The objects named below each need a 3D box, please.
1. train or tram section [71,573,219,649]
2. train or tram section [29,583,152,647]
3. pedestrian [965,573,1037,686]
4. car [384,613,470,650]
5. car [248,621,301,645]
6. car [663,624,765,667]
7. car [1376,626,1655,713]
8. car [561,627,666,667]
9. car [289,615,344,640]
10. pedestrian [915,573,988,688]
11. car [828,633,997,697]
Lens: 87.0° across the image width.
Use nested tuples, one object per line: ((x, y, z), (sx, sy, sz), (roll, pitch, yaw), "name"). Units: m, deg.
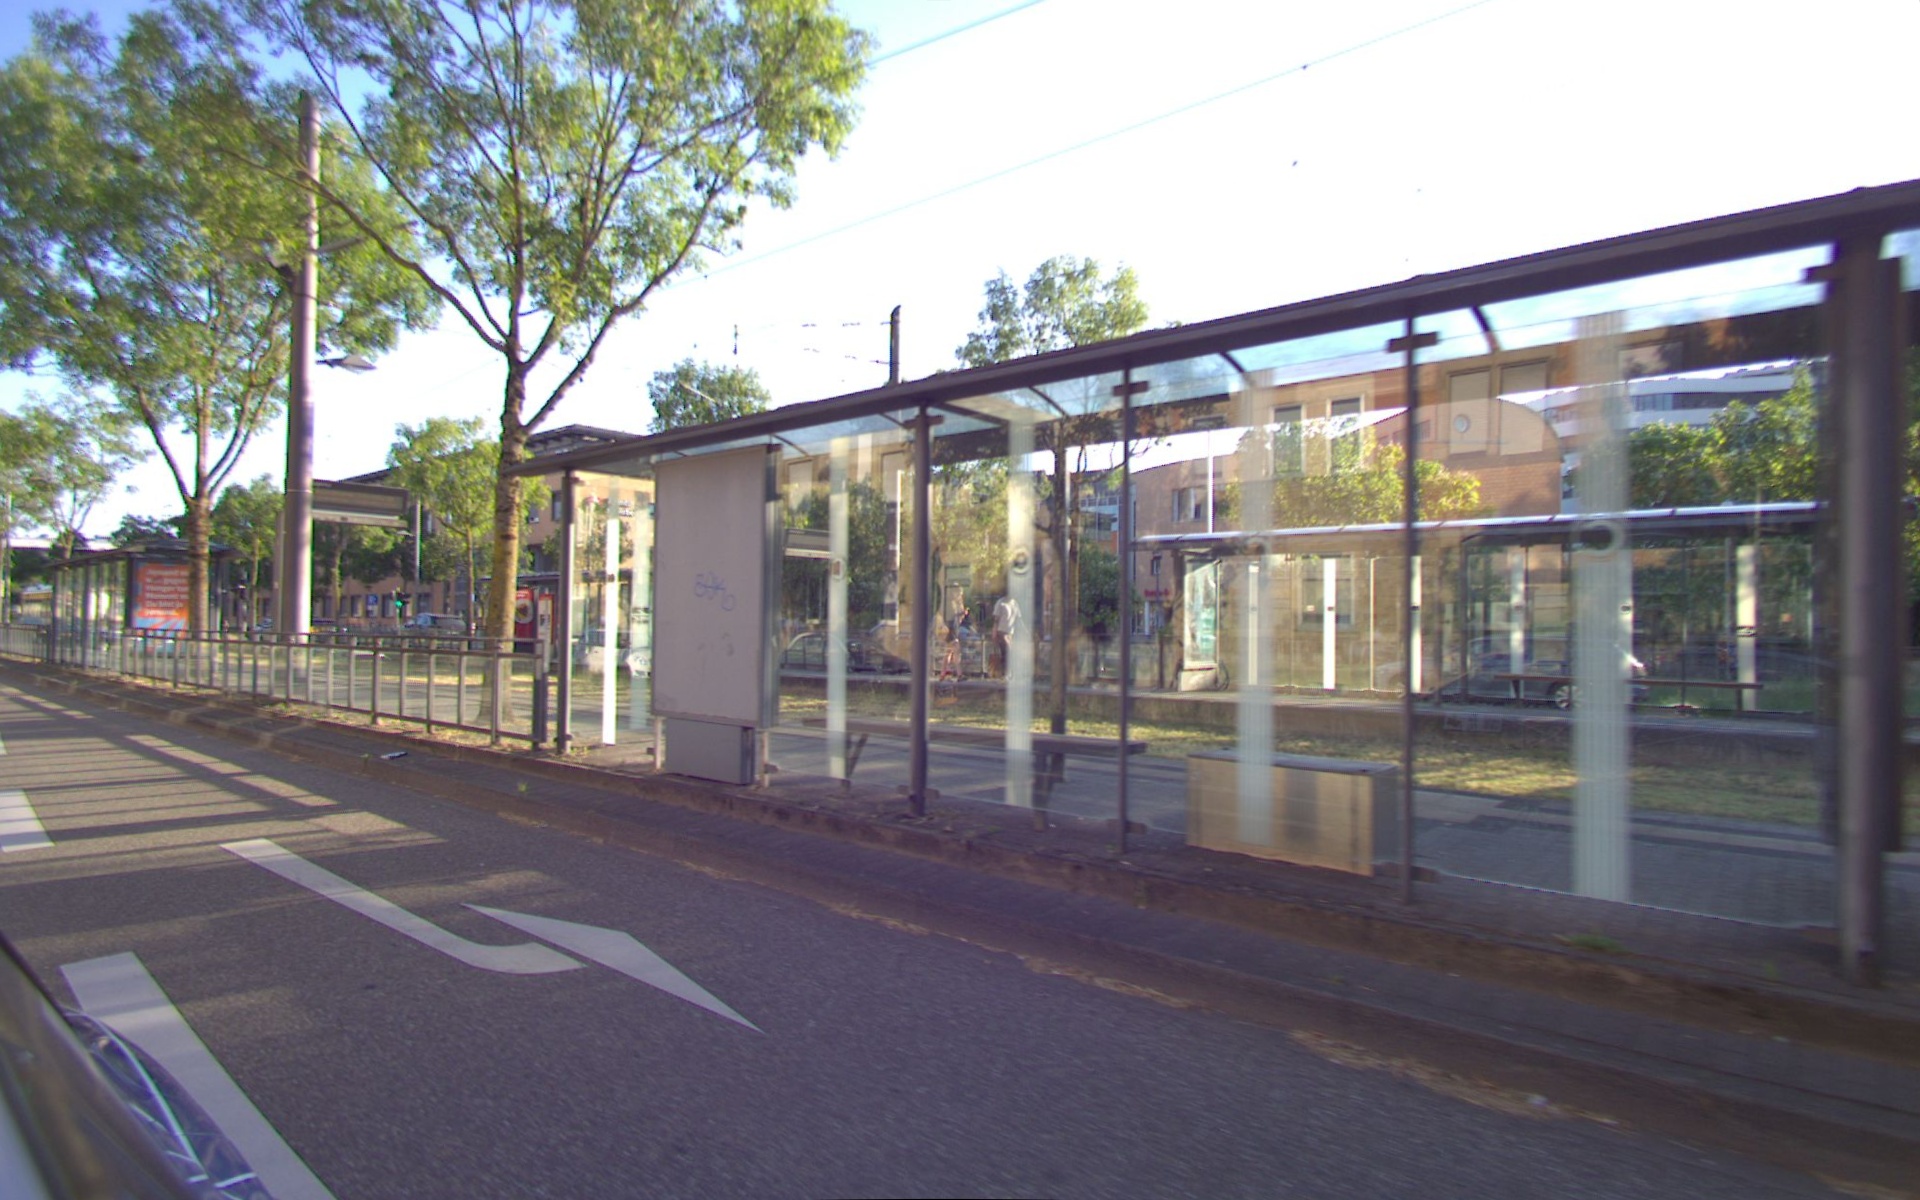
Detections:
((-41.382, 0.589, 51.067), (13.850, 3.365, 3.395), (-1, -2, 41), "train or tram section")
((-52.302, 0.902, 60.624), (15.019, 3.456, 3.395), (-1, -2, 41), "train or tram section")
((0.758, 0.544, 18.866), (1.127, 2.029, 0.761), (-1, -2, 43), "pedestrian")
((-23.163, 1.353, 43.913), (4.359, 1.519, 1.842), (-1, -2, 41), "car")
((-46.306, 2.208, 68.354), (3.994, 1.519, 1.844), (-1, -2, 38), "car")
((-8.752, 1.604, 35.909), (3.747, 1.387, 1.595), (-1, -5, 41), "car")
((10.443, 1.233, 19.230), (4.430, 1.424, 1.593), (-1, -2, 40), "car")
((-12.044, 1.588, 35.028), (3.998, 1.308, 1.676), (-1, -2, 41), "car")
((-35.976, 1.514, 56.544), (3.687, 1.308, 1.524), (0, -2, 41), "car")
((-0.165, 0.558, 18.626), (1.127, 2.029, 0.761), (-1, -2, 43), "pedestrian")
((-1.295, 1.625, 26.255), (4.338, 1.426, 1.776), (-1, 0, 40), "car")
